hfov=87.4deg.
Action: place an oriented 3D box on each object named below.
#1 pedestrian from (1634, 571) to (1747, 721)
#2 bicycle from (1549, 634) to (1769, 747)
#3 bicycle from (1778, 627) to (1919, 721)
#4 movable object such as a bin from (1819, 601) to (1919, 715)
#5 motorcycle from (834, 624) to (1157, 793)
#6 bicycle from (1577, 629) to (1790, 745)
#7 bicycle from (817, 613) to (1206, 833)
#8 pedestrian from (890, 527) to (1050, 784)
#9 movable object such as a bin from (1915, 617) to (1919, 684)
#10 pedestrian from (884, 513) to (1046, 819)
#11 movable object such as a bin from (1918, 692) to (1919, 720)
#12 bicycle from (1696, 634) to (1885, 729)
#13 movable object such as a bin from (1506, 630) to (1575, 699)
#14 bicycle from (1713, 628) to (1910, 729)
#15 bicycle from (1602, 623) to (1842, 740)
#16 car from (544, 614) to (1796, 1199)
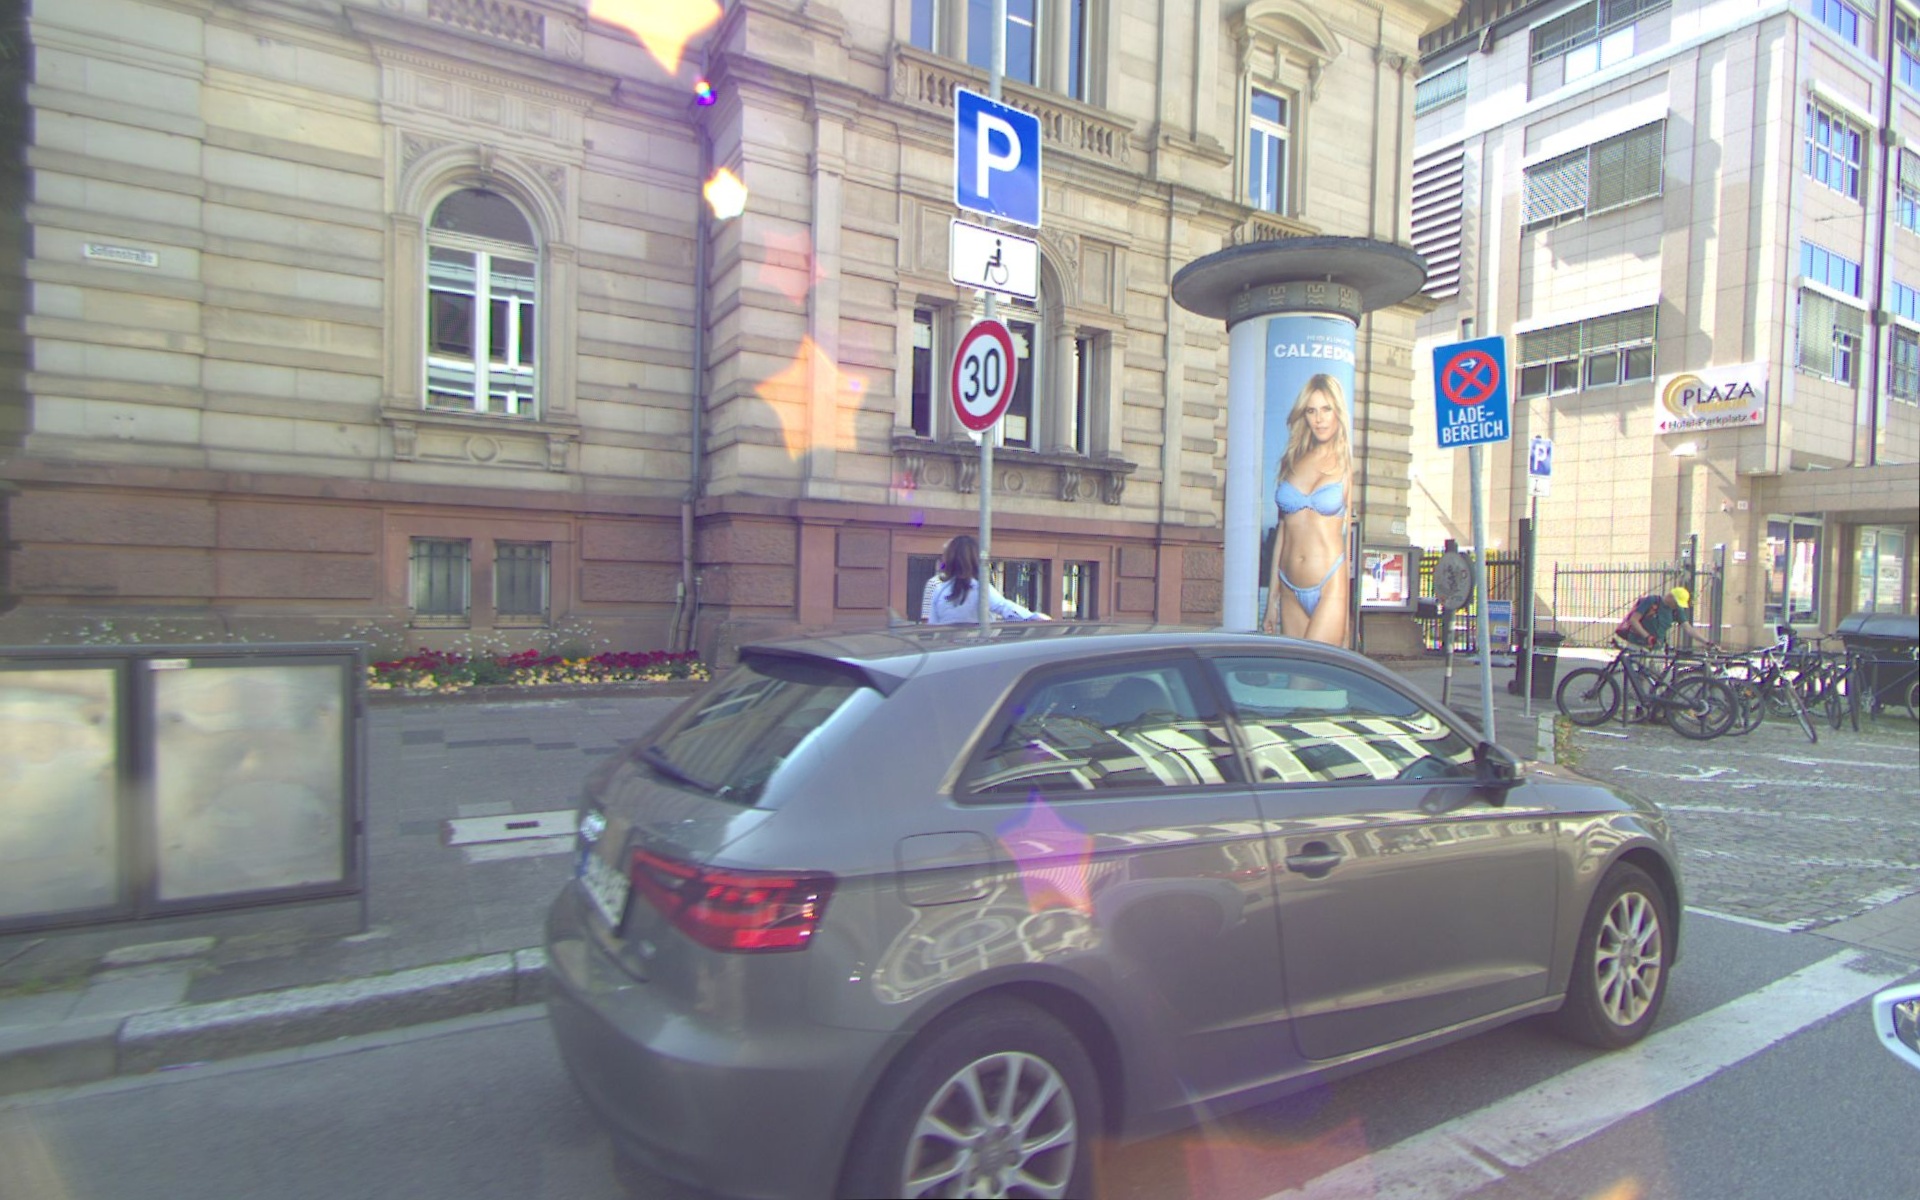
[{"bbox_3d":[8.929,0.533,12.295,0.741,1.748,0.882,1,2,-36],"label":"pedestrian"},{"bbox_3d":[8.074,0.997,11.689,0.666,1.031,1.945,1,3,-40],"label":"bicycle"},{"bbox_3d":[12.549,1.008,13.786,0.504,1.135,1.955,2,2,-33],"label":"bicycle"},{"bbox_3d":[13.375,0.783,14.318,1.345,1.470,1.205,0,3,-24],"label":"movable object such as a bin"},{"bbox_3d":[0.261,0.710,6.770,2.128,1.011,0.453,2,2,-21],"label":"motorcycle"},{"bbox_3d":[8.658,0.998,12.106,0.552,1.135,1.943,1,3,-40],"label":"bicycle"},{"bbox_3d":[0.328,0.707,5.849,2.209,1.135,0.429,3,2,-19],"label":"bicycle"},{"bbox_3d":[0.061,0.381,7.031,0.923,1.687,0.548,2,0,-21],"label":"pedestrian"},{"bbox_3d":[18.310,0.910,18.146,1.114,1.317,1.203,-1,3,-29],"label":"movable object such as a bin"},{"bbox_3d":[0.018,0.376,6.101,0.682,1.717,0.692,2,0,-27],"label":"pedestrian"},{"bbox_3d":[13.723,0.899,13.203,1.418,1.470,1.120,0,3,-24],"label":"movable object such as a bin"},{"bbox_3d":[10.994,1.056,13.368,0.551,1.087,1.832,5,-2,-33],"label":"bicycle"},{"bbox_3d":[7.943,0.879,13.756,0.506,0.887,0.650,2,0,-37],"label":"movable object such as a bin"},{"bbox_3d":[11.743,1.048,13.941,0.504,1.135,1.962,2,3,-33],"label":"bicycle"},{"bbox_3d":[9.274,0.946,12.335,0.552,1.135,2.216,1,3,-40],"label":"bicycle"},{"bbox_3d":[0.895,0.763,3.596,4.200,1.372,1.927,0,1,-31],"label":"car"}]
